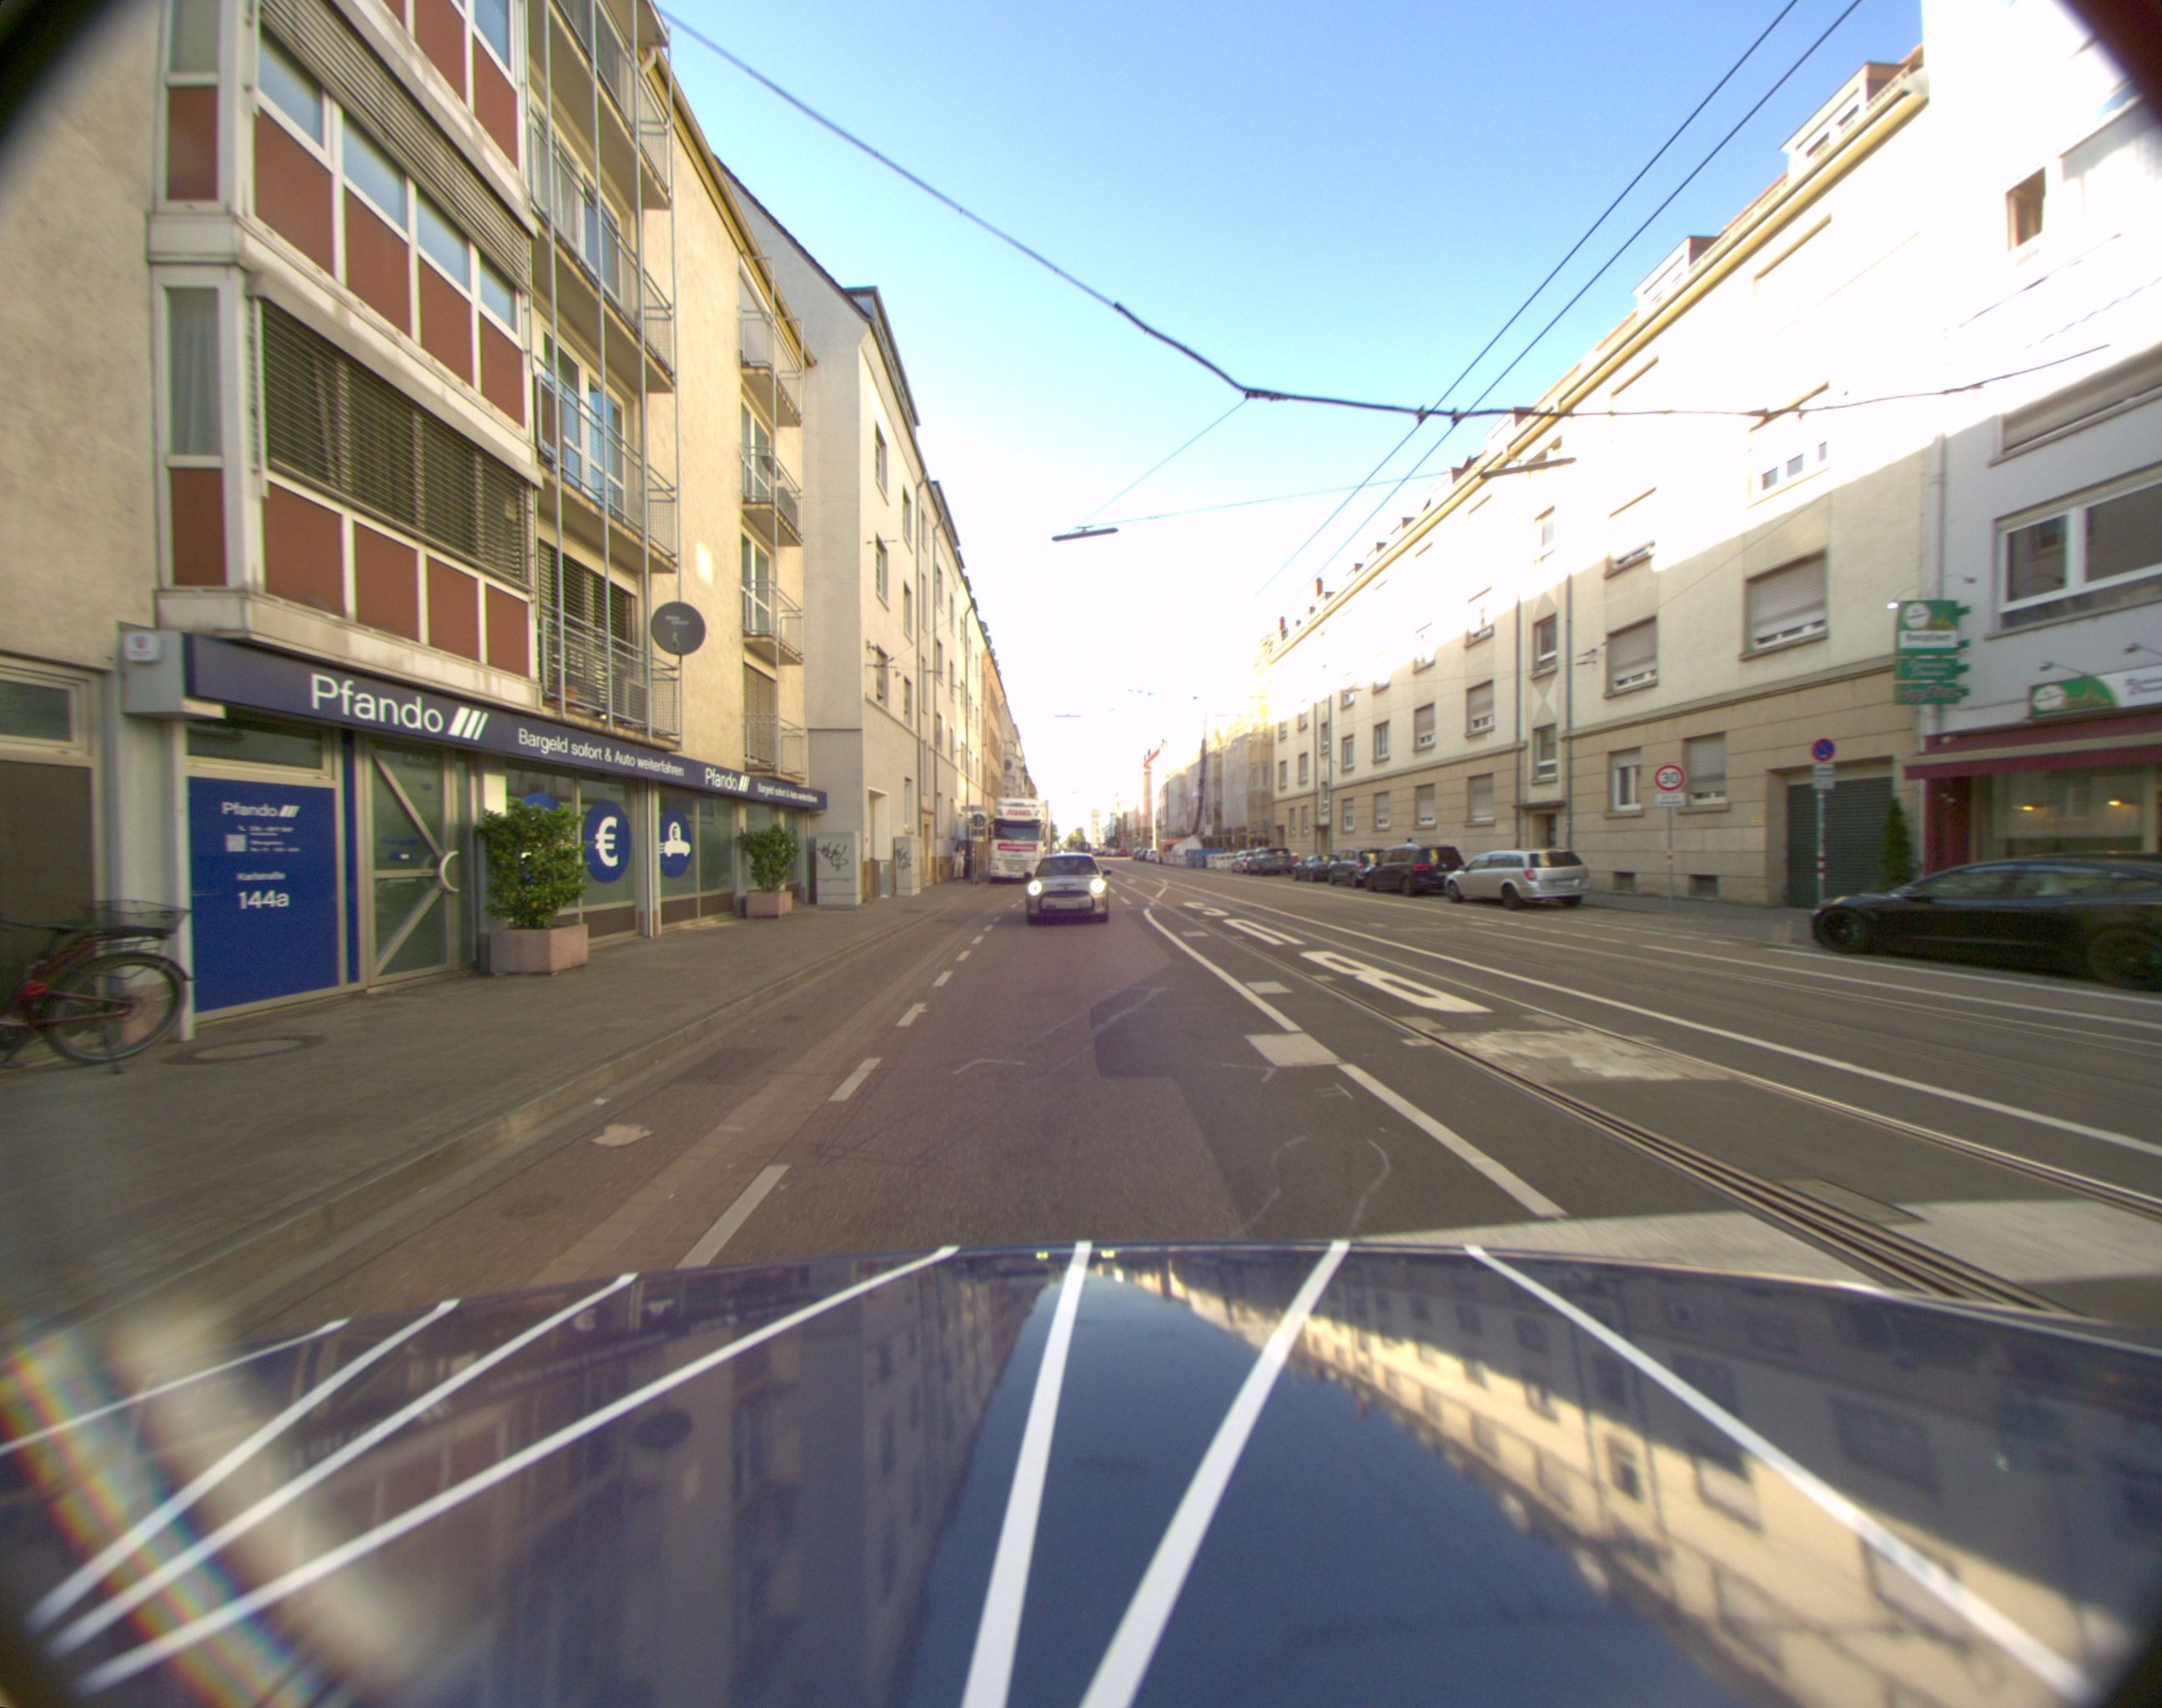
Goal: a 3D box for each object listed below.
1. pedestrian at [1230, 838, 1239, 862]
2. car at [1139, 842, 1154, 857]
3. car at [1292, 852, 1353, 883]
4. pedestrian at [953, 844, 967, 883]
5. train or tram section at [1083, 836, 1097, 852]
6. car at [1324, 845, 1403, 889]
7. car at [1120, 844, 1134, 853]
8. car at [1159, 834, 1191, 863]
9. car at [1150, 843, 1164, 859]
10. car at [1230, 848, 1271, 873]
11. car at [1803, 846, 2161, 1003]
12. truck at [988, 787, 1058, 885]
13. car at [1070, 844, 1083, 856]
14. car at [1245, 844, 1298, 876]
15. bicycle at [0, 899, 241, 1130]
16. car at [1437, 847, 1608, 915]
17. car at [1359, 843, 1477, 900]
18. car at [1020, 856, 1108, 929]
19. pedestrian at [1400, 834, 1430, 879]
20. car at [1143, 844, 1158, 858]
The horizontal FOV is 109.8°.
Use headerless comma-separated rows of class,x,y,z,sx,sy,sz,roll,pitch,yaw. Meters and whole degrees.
pedestrian,12.223,-0.326,60.590,0.519,1.861,0.762,-3,2,-1
car,9.099,-0.635,105.469,1.570,1.945,4.183,-3,1,-1
car,10.975,0.562,34.720,1.476,1.213,3.522,-3,1,-3
pedestrian,-5.130,0.404,32.261,0.475,1.620,0.467,0,2,0
train or tram section,2.060,-2.436,179.779,2.867,3.542,13.038,-1,1,-2
car,11.095,0.456,30.099,1.643,1.549,3.594,-3,1,-1
car,8.528,-1.002,141.263,2.231,1.518,4.959,-3,1,-1
car,9.266,-0.609,75.133,2.215,2.681,5.871,-3,1,-1
car,9.316,-0.379,92.895,1.657,1.912,3.766,-2,1,6
car,10.581,0.369,47.495,1.565,1.372,3.506,-3,1,-3
car,11.695,0.699,9.125,1.773,1.466,4.444,-3,1,-1
truck,-2.687,-0.947,38.919,2.700,4.214,11.773,-1,2,0
car,-0.779,-0.733,135.505,1.999,1.871,4.269,-3,1,-3
car,10.721,0.277,43.046,1.752,1.600,4.157,-3,1,-3
bicycle,-6.118,0.914,4.406,0.497,1.155,1.776,-1,2,-1
car,11.316,0.616,19.889,1.730,1.446,4.369,-3,1,-3
car,11.074,0.492,25.337,1.819,1.624,4.323,-3,1,-3
car,-0.313,0.764,16.844,1.727,1.416,3.817,-1,0,1
pedestrian,13.564,0.101,30.868,0.664,1.757,1.005,-3,2,-8
car,9.037,-0.367,98.839,1.570,1.674,3.935,-3,1,-1
